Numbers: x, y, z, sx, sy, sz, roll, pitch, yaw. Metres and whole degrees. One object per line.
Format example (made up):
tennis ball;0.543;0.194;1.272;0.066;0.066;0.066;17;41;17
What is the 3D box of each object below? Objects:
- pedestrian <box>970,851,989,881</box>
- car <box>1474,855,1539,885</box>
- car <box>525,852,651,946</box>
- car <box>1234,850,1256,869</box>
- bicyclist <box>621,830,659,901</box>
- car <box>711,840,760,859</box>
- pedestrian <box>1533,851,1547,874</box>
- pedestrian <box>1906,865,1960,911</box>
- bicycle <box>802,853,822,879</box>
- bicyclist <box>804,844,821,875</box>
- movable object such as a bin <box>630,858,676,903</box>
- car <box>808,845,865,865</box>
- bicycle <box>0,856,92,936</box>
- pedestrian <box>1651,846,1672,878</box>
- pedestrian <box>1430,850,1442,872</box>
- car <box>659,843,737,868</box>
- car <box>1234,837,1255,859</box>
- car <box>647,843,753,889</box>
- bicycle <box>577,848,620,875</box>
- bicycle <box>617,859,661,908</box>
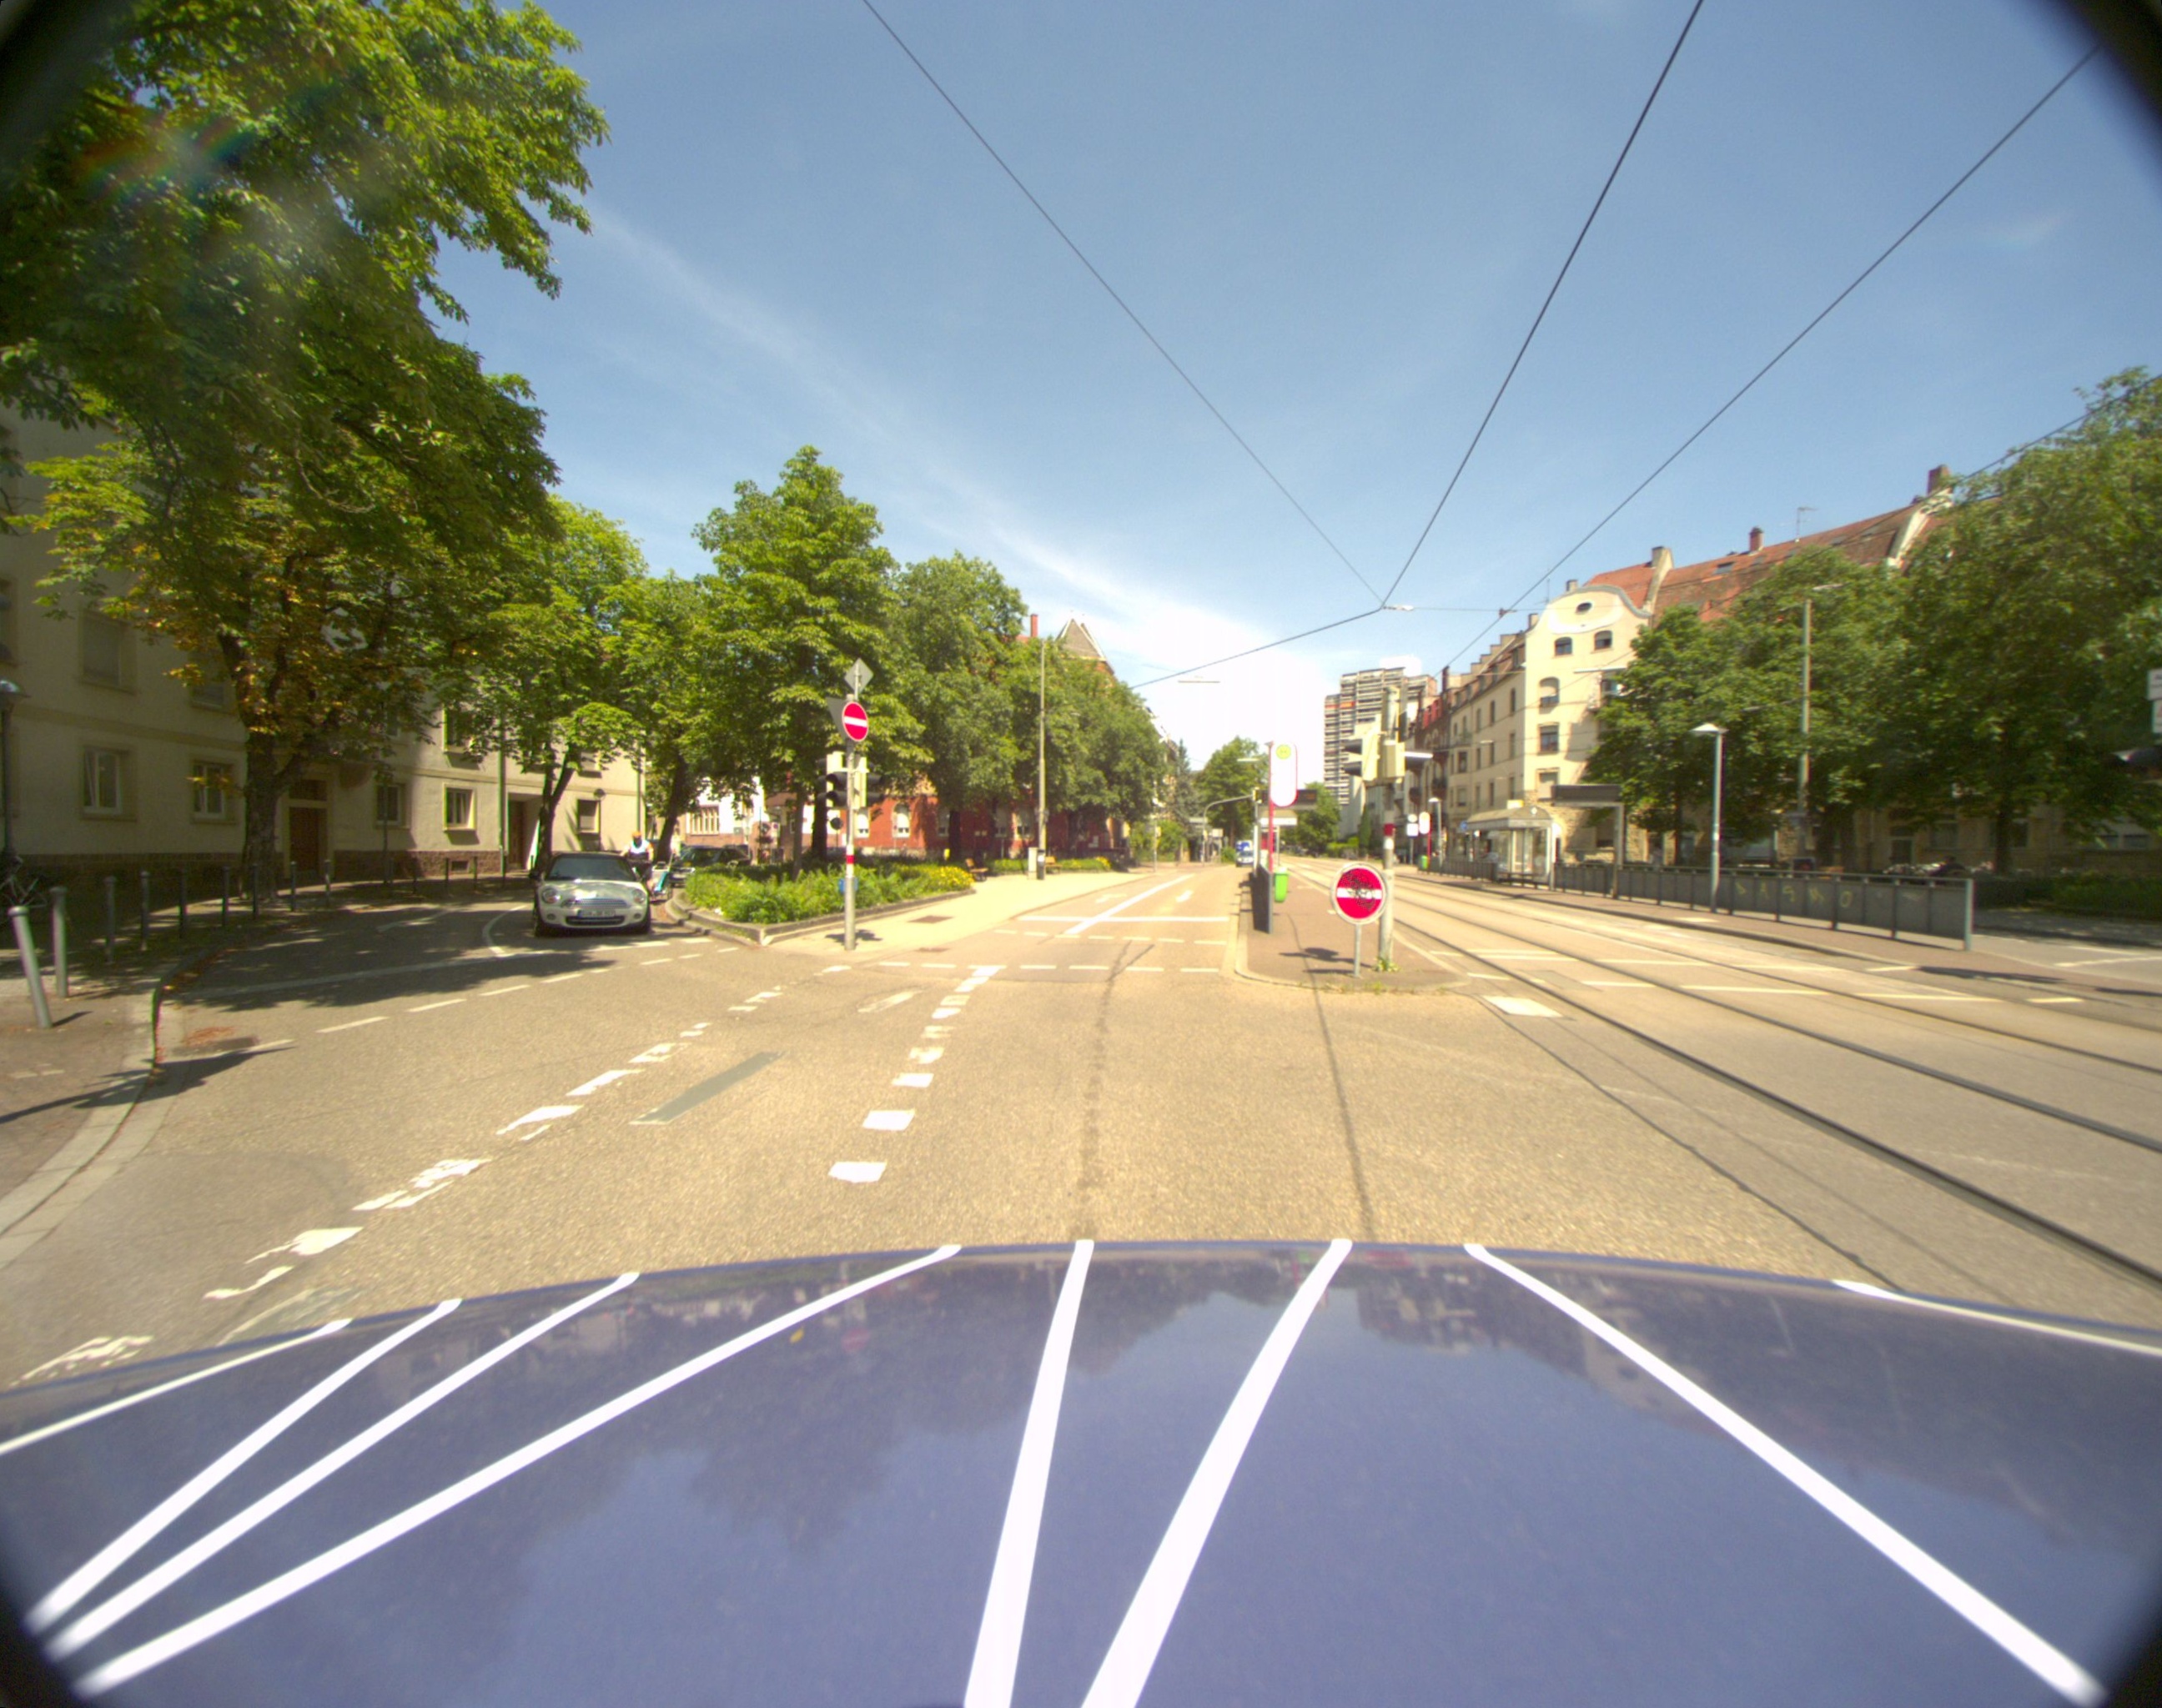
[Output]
pedestrian;-3.881;0.460;29.138;0.652;1.143;0.643;0;1;-4
car;20.664;0.729;37.090;1.695;1.302;3.851;0;1;12
car;-9.065;0.734;13.923;1.699;1.437;3.616;2;0;-35
car;14.217;0.440;65.899;1.735;1.543;4.427;1;1;10
bicyclist;-11.199;0.275;19.309;0.699;1.757;0.863;0;1;-21
car;-29.494;-0.372;64.870;4.233;1.554;1.707;1;1;31
pedestrian;29.080;0.545;48.105;0.536;1.433;0.521;1;1;2
pedestrian;25.270;1.005;22.549;0.822;1.309;0.653;1;1;18
bicycle;-13.935;0.602;39.425;0.640;1.285;1.929;0;1;-9
bicyclist;-13.930;0.269;39.433;0.640;1.614;0.862;0;1;-9
movable object such as a bin;-11.800;0.700;21.003;0.869;1.148;1.761;0;1;-21
car;-18.416;0.067;57.241;4.307;1.444;1.648;1;1;31
bicycle;-16.392;0.620;11.665;0.641;1.148;1.800;0;1;-23
pedestrian;26.438;0.348;34.590;0.536;1.433;0.521;1;1;2
pedestrian;28.573;0.544;61.139;0.807;1.710;0.764;1;1;28
car;-25.242;0.076;50.227;1.640;1.554;4.328;1;1;33
car;19.119;-0.714;89.213;2.234;2.478;5.270;1;2;10
car;-13.905;0.392;27.994;1.612;1.554;4.068;0;1;5
bicycle;-21.235;0.308;33.492;0.514;1.148;1.934;0;1;4
bicycle;-11.206;0.731;19.331;0.682;1.148;1.801;0;1;-21
